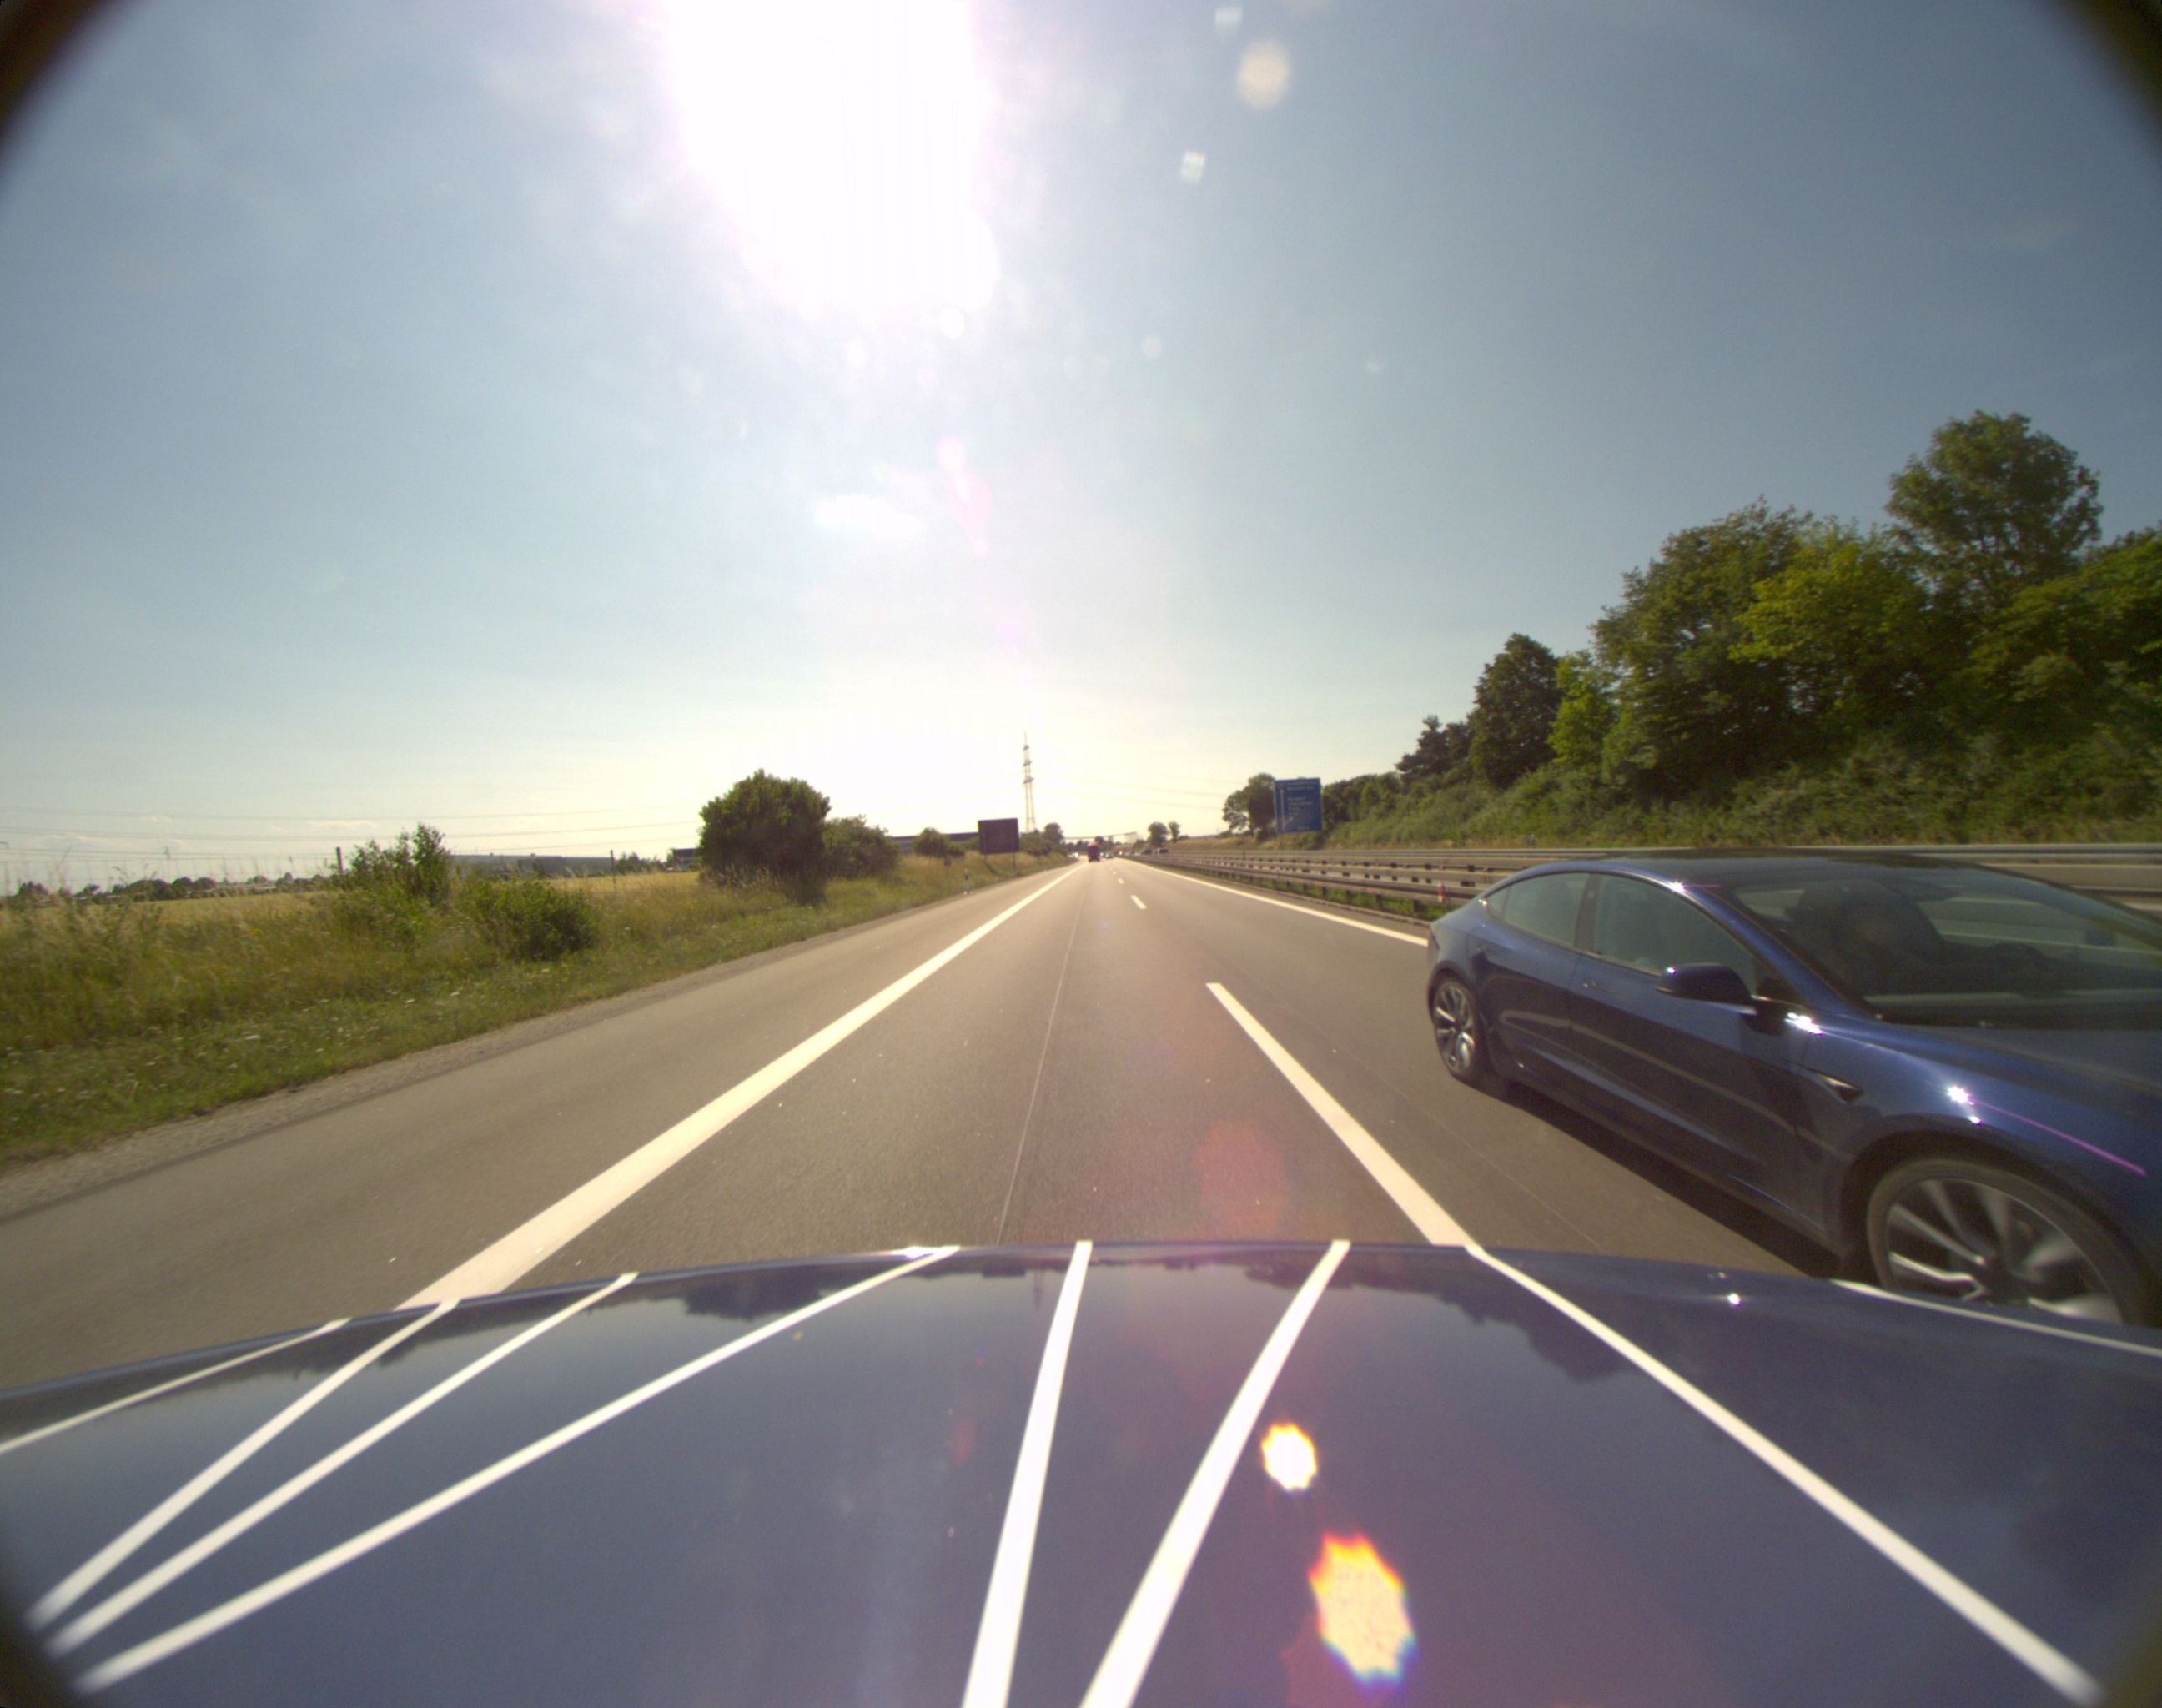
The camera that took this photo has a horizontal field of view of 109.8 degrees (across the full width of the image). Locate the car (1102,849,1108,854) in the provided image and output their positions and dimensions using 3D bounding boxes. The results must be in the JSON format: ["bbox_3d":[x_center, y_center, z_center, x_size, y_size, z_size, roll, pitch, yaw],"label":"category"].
[{"bbox_3d":[7.253,-0.669,230.386,1.860,1.361,3.999,-2,1,1],"label":"car"}]

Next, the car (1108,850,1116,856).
[{"bbox_3d":[7.651,-0.149,187.486,1.860,1.361,3.999,-2,1,1],"label":"car"}]

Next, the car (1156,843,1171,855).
[{"bbox_3d":[14.630,-0.960,134.417,1.998,1.978,5.691,-3,0,1],"label":"car"}]

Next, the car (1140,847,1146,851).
[{"bbox_3d":[19.764,-1.642,242.521,1.526,1.344,4.232,-4,0,2],"label":"car"}]

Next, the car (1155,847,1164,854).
[{"bbox_3d":[19.791,-0.979,191.977,1.998,1.602,4.487,-4,0,2],"label":"car"}]

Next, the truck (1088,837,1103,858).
[{"bbox_3d":[2.886,-1.351,156.191,2.570,3.939,8.643,-5,1,0],"label":"truck"}]

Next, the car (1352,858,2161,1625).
[{"bbox_3d":[3.144,0.804,3.418,1.852,1.424,5.865,-2,1,1],"label":"car"}]

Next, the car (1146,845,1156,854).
[{"bbox_3d":[16.044,-1.066,174.331,1.998,1.961,5.039,-4,0,2],"label":"car"}]
